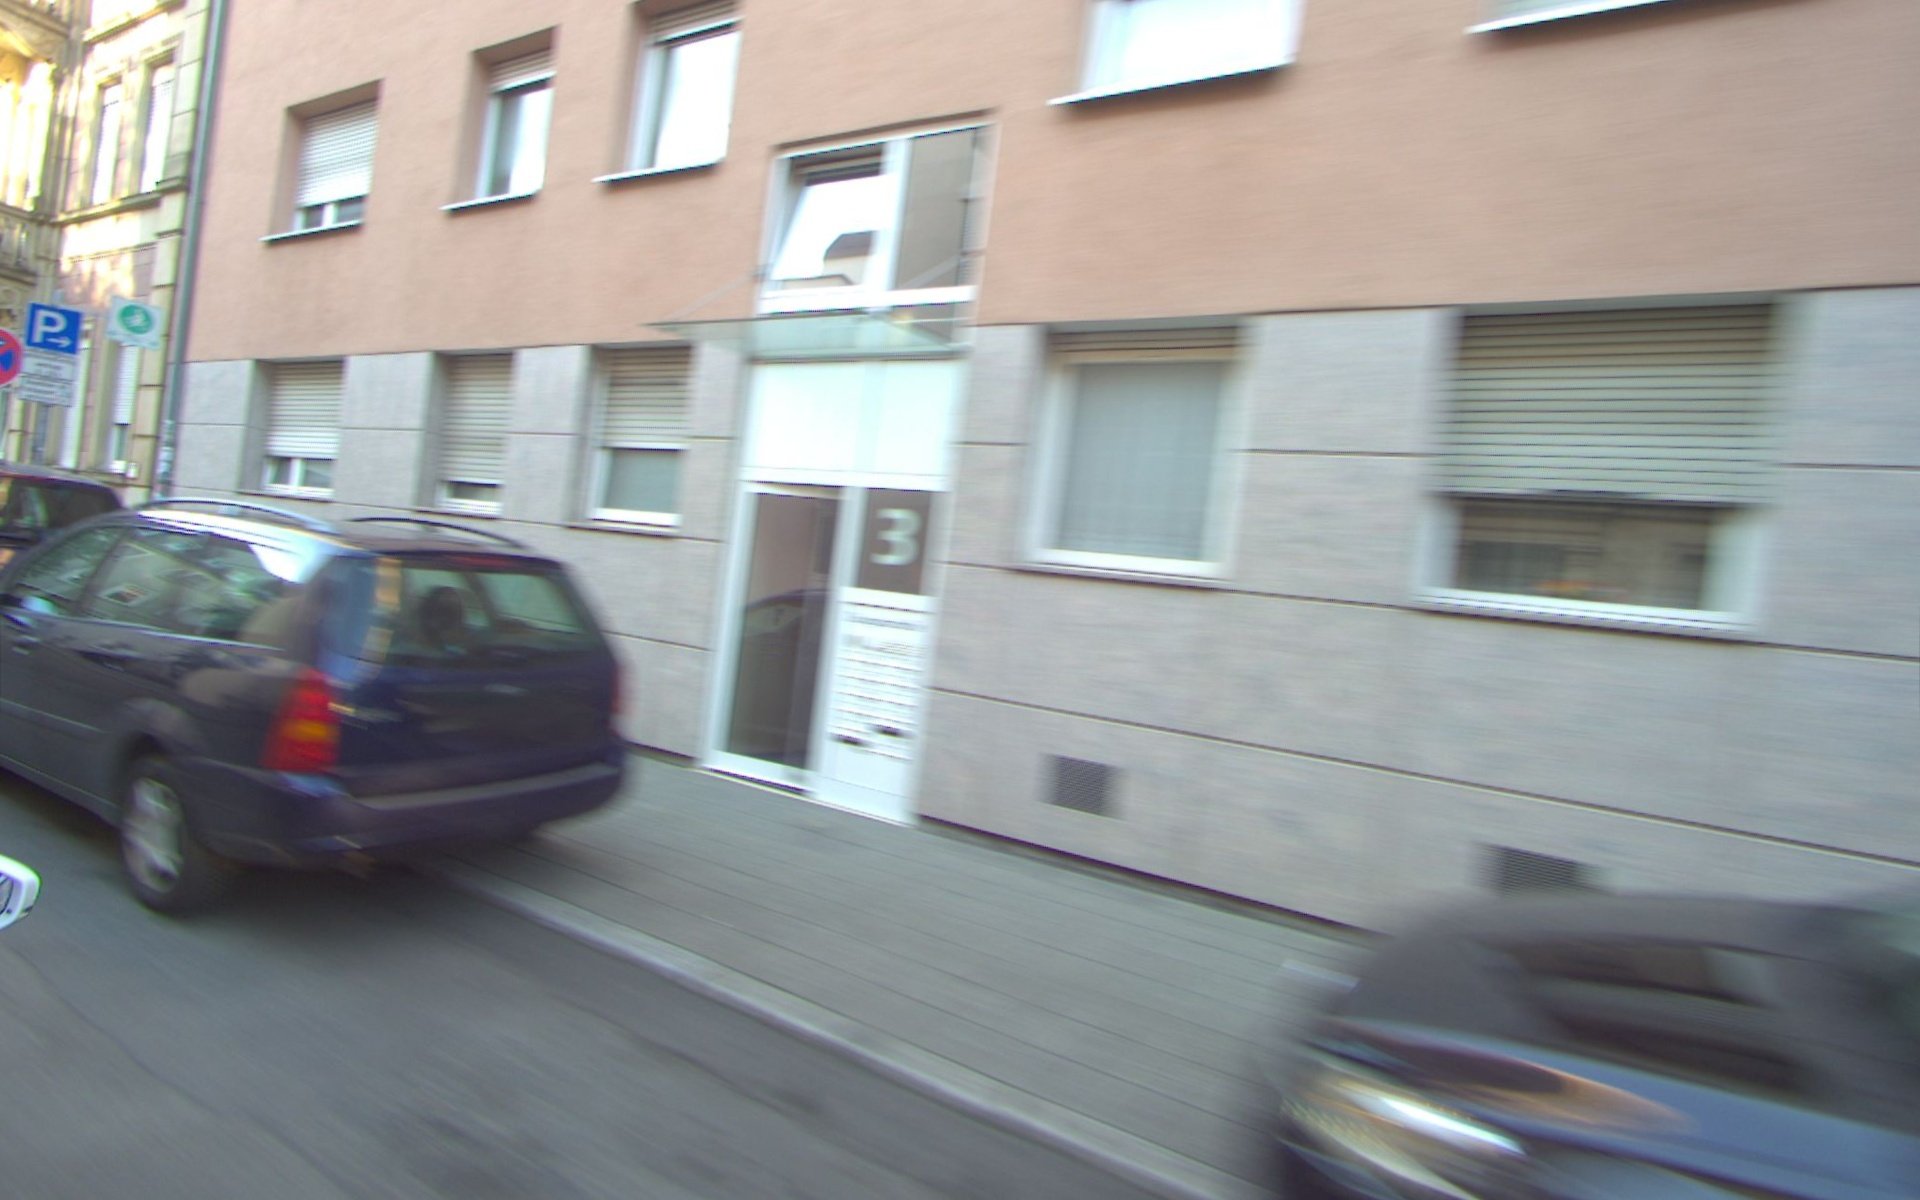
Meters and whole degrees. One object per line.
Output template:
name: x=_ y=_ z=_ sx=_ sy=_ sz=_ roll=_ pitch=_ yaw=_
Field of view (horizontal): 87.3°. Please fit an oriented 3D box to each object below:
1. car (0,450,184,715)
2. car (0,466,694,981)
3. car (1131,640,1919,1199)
car: x=-7.633 y=-0.309 z=7.334 sx=3.987 sy=1.644 sz=1.692 roll=7 pitch=-1 yaw=31
car: x=-3.528 y=0.290 z=4.992 sx=4.211 sy=1.532 sz=1.692 roll=7 pitch=-1 yaw=31
car: x=2.492 y=1.098 z=1.493 sx=4.063 sy=1.475 sz=1.692 roll=7 pitch=-1 yaw=31
